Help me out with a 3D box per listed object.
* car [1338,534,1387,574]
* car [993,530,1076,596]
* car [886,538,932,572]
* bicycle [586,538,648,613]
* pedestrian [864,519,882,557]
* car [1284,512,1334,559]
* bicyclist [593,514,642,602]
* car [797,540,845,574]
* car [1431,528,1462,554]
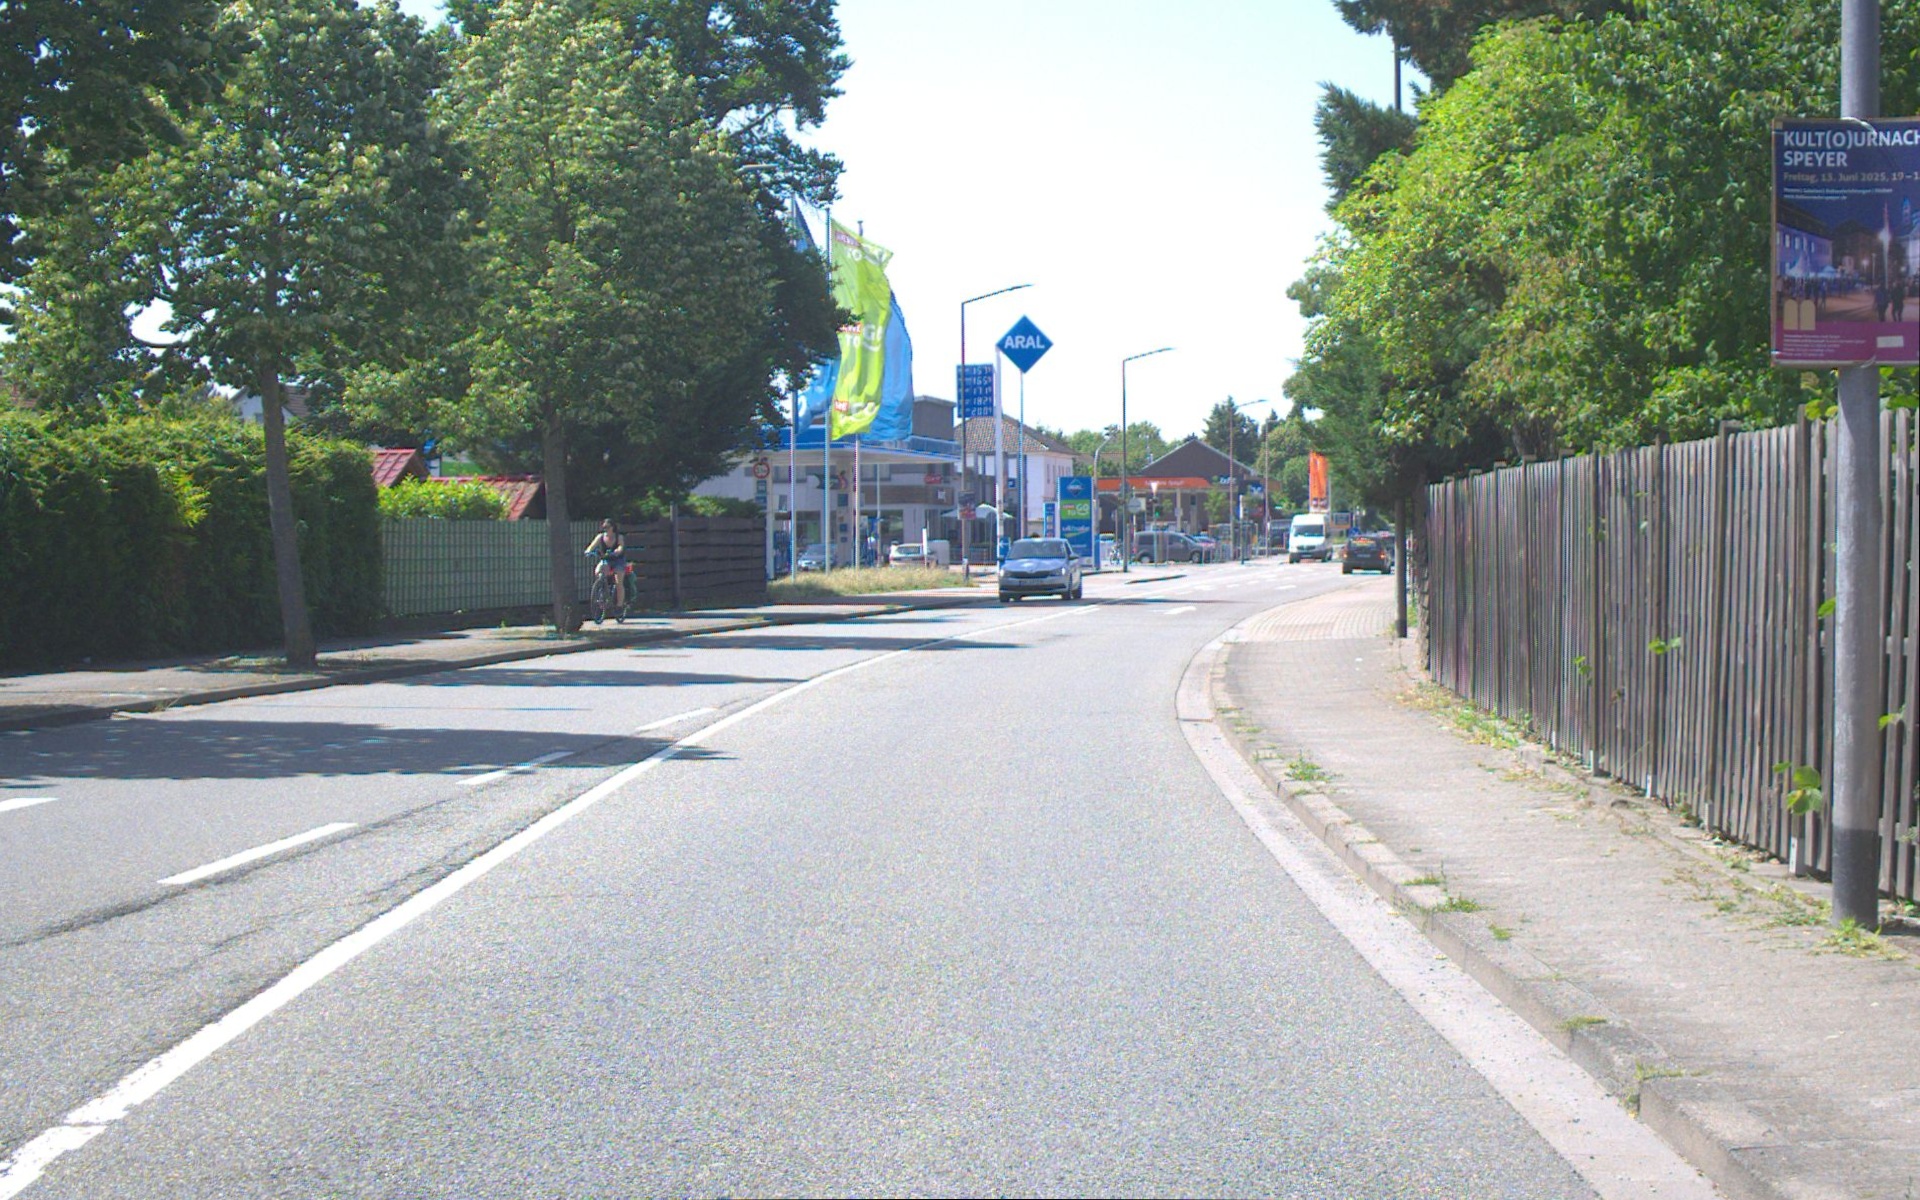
[{"bbox_3d":[15.164,-1.745,129.439,1.666,1.450,3.471,0,1,10],"label":"car"},{"bbox_3d":[1.766,-0.883,80.402,1.612,1.477,3.707,0,1,6],"label":"car"},{"bbox_3d":[-2.267,-2.020,153.140,1.617,1.415,3.711,-2,1,6],"label":"car"},{"bbox_3d":[-5.526,-0.406,55.435,0.632,1.176,1.815,-1,1,6],"label":"bicycle"},{"bbox_3d":[-3.910,-2.794,154.729,0.610,1.685,0.709,-1,1,-16],"label":"pedestrian"},{"bbox_3d":[18.865,-3.468,185.643,1.994,2.414,5.944,1,0,12],"label":"car"},{"bbox_3d":[-5.523,-0.681,55.443,0.628,1.404,0.676,-1,1,6],"label":"bicyclist"},{"bbox_3d":[-6.186,-1.908,153.329,1.617,1.415,3.711,-2,1,6],"label":"car"},{"bbox_3d":[28.316,-3.433,200.053,1.666,1.450,3.471,0,1,10],"label":"car"}]
